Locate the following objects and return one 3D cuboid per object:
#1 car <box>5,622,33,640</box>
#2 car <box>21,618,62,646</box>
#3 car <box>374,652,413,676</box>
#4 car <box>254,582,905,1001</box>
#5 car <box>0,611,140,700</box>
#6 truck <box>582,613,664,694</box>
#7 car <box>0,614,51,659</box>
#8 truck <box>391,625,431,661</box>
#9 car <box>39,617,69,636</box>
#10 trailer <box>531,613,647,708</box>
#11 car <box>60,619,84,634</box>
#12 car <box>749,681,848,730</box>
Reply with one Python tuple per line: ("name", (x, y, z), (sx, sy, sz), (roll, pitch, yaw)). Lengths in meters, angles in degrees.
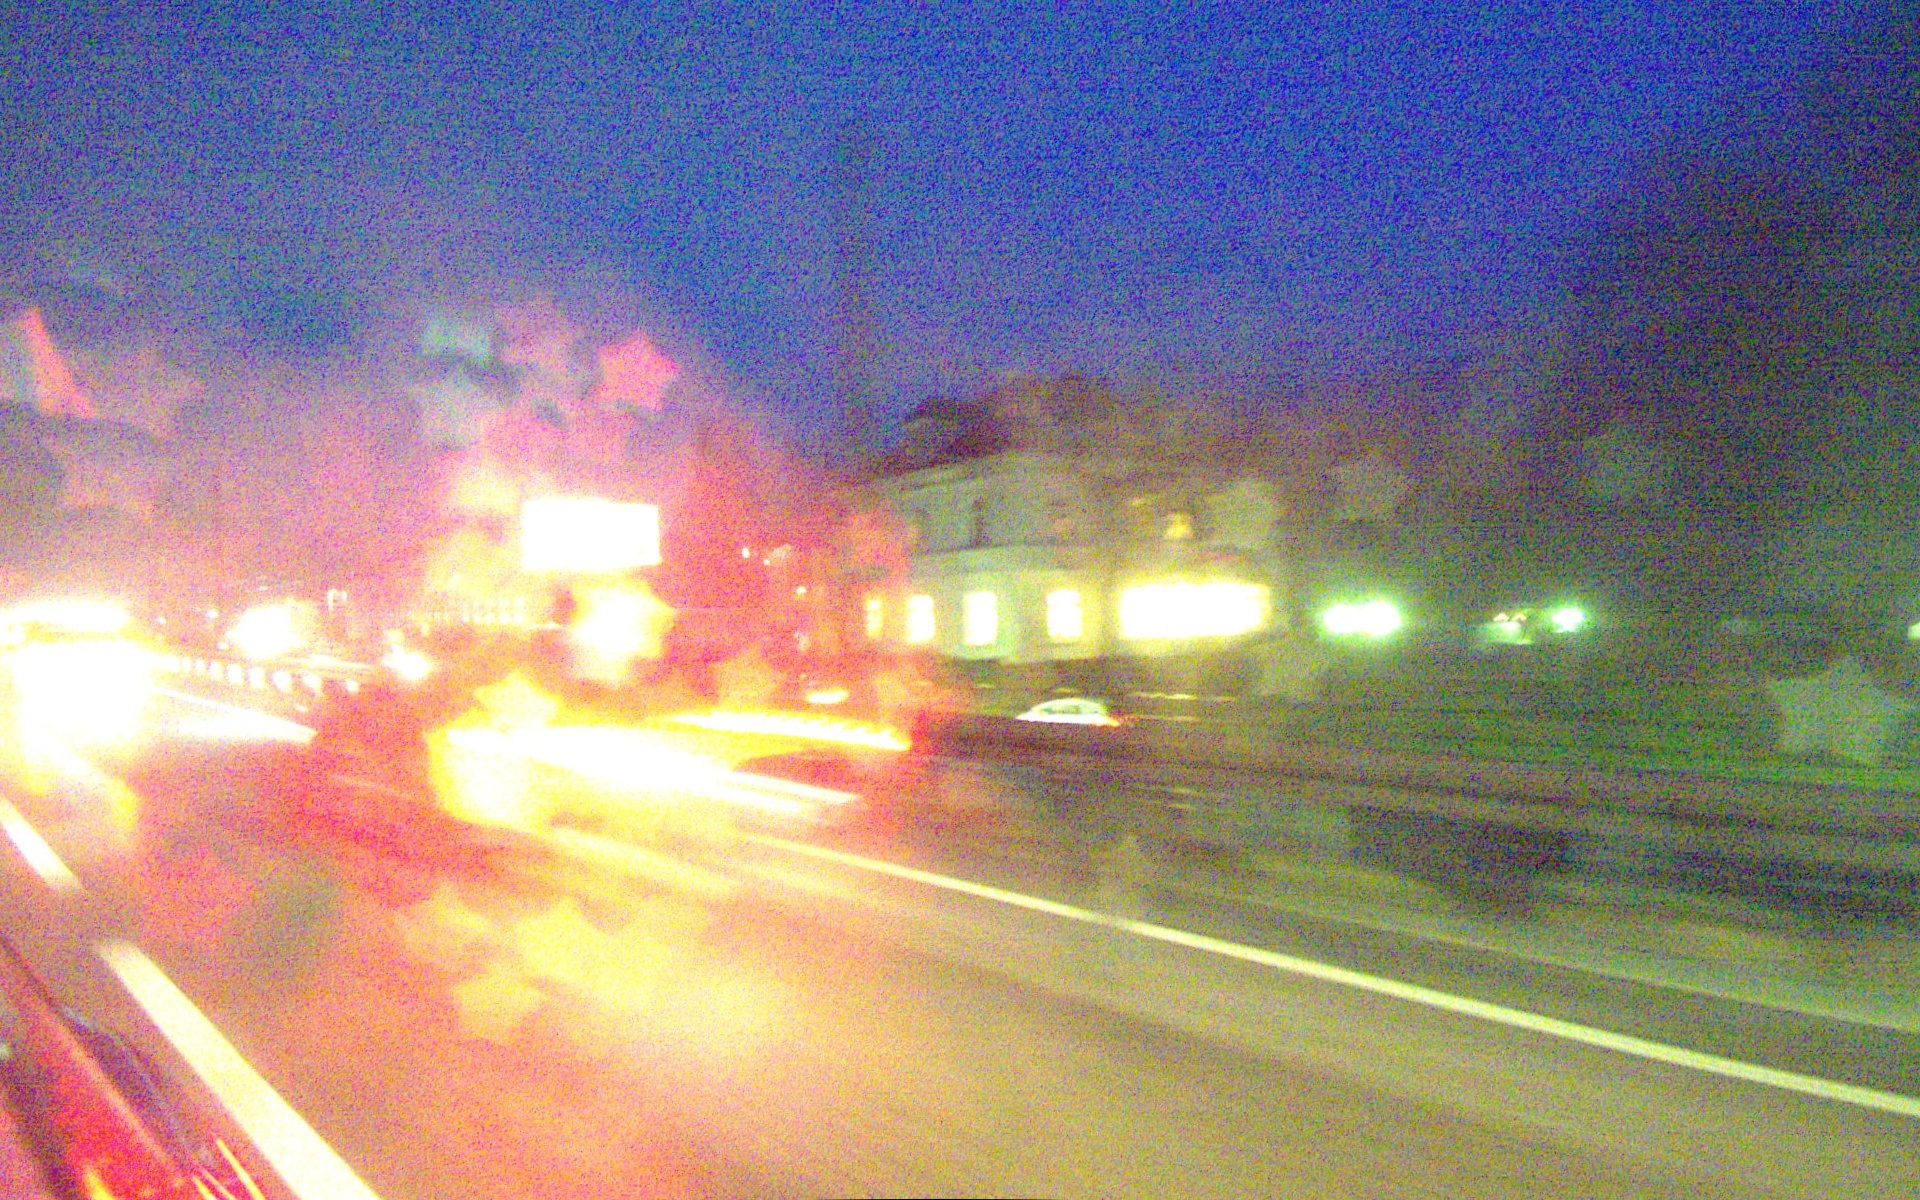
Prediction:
("car", (-90.695, 2.987, 97.576), (1.797, 1.586, 4.113), (0, -1, -40))
("car", (-58.282, 2.016, 64.226), (1.787, 1.688, 4.296), (0, -1, -44))
("car", (-44.511, 5.003, 79.512), (1.786, 1.688, 4.298), (0, -1, -42))
("car", (-2.434, 0.739, 5.871), (4.176, 1.571, 1.798), (-1, -1, 41))
("car", (-18.275, 1.050, 20.654), (4.375, 1.635, 1.769), (-1, -1, 42))
("truck", (-21.628, 3.296, 65.382), (3.288, 4.832, 7.326), (-1, 0, -4))
("car", (-40.595, 1.525, 43.535), (4.598, 1.819, 1.971), (-1, -1, 45))
("truck", (-57.004, 4.357, 104.967), (2.719, 3.509, 8.124), (0, -1, -35))
("car", (-72.162, 2.077, 80.590), (1.764, 1.490, 3.684), (0, -1, -42))
("trailer", (-21.175, 3.254, 58.737), (3.288, 4.832, 11.566), (-1, 0, -4))
("car", (-93.367, 2.760, 106.410), (1.615, 1.531, 3.778), (2, -2, -37))
("car", (-6.869, 4.402, 42.825), (4.290, 1.688, 1.789), (-1, -1, 41))
